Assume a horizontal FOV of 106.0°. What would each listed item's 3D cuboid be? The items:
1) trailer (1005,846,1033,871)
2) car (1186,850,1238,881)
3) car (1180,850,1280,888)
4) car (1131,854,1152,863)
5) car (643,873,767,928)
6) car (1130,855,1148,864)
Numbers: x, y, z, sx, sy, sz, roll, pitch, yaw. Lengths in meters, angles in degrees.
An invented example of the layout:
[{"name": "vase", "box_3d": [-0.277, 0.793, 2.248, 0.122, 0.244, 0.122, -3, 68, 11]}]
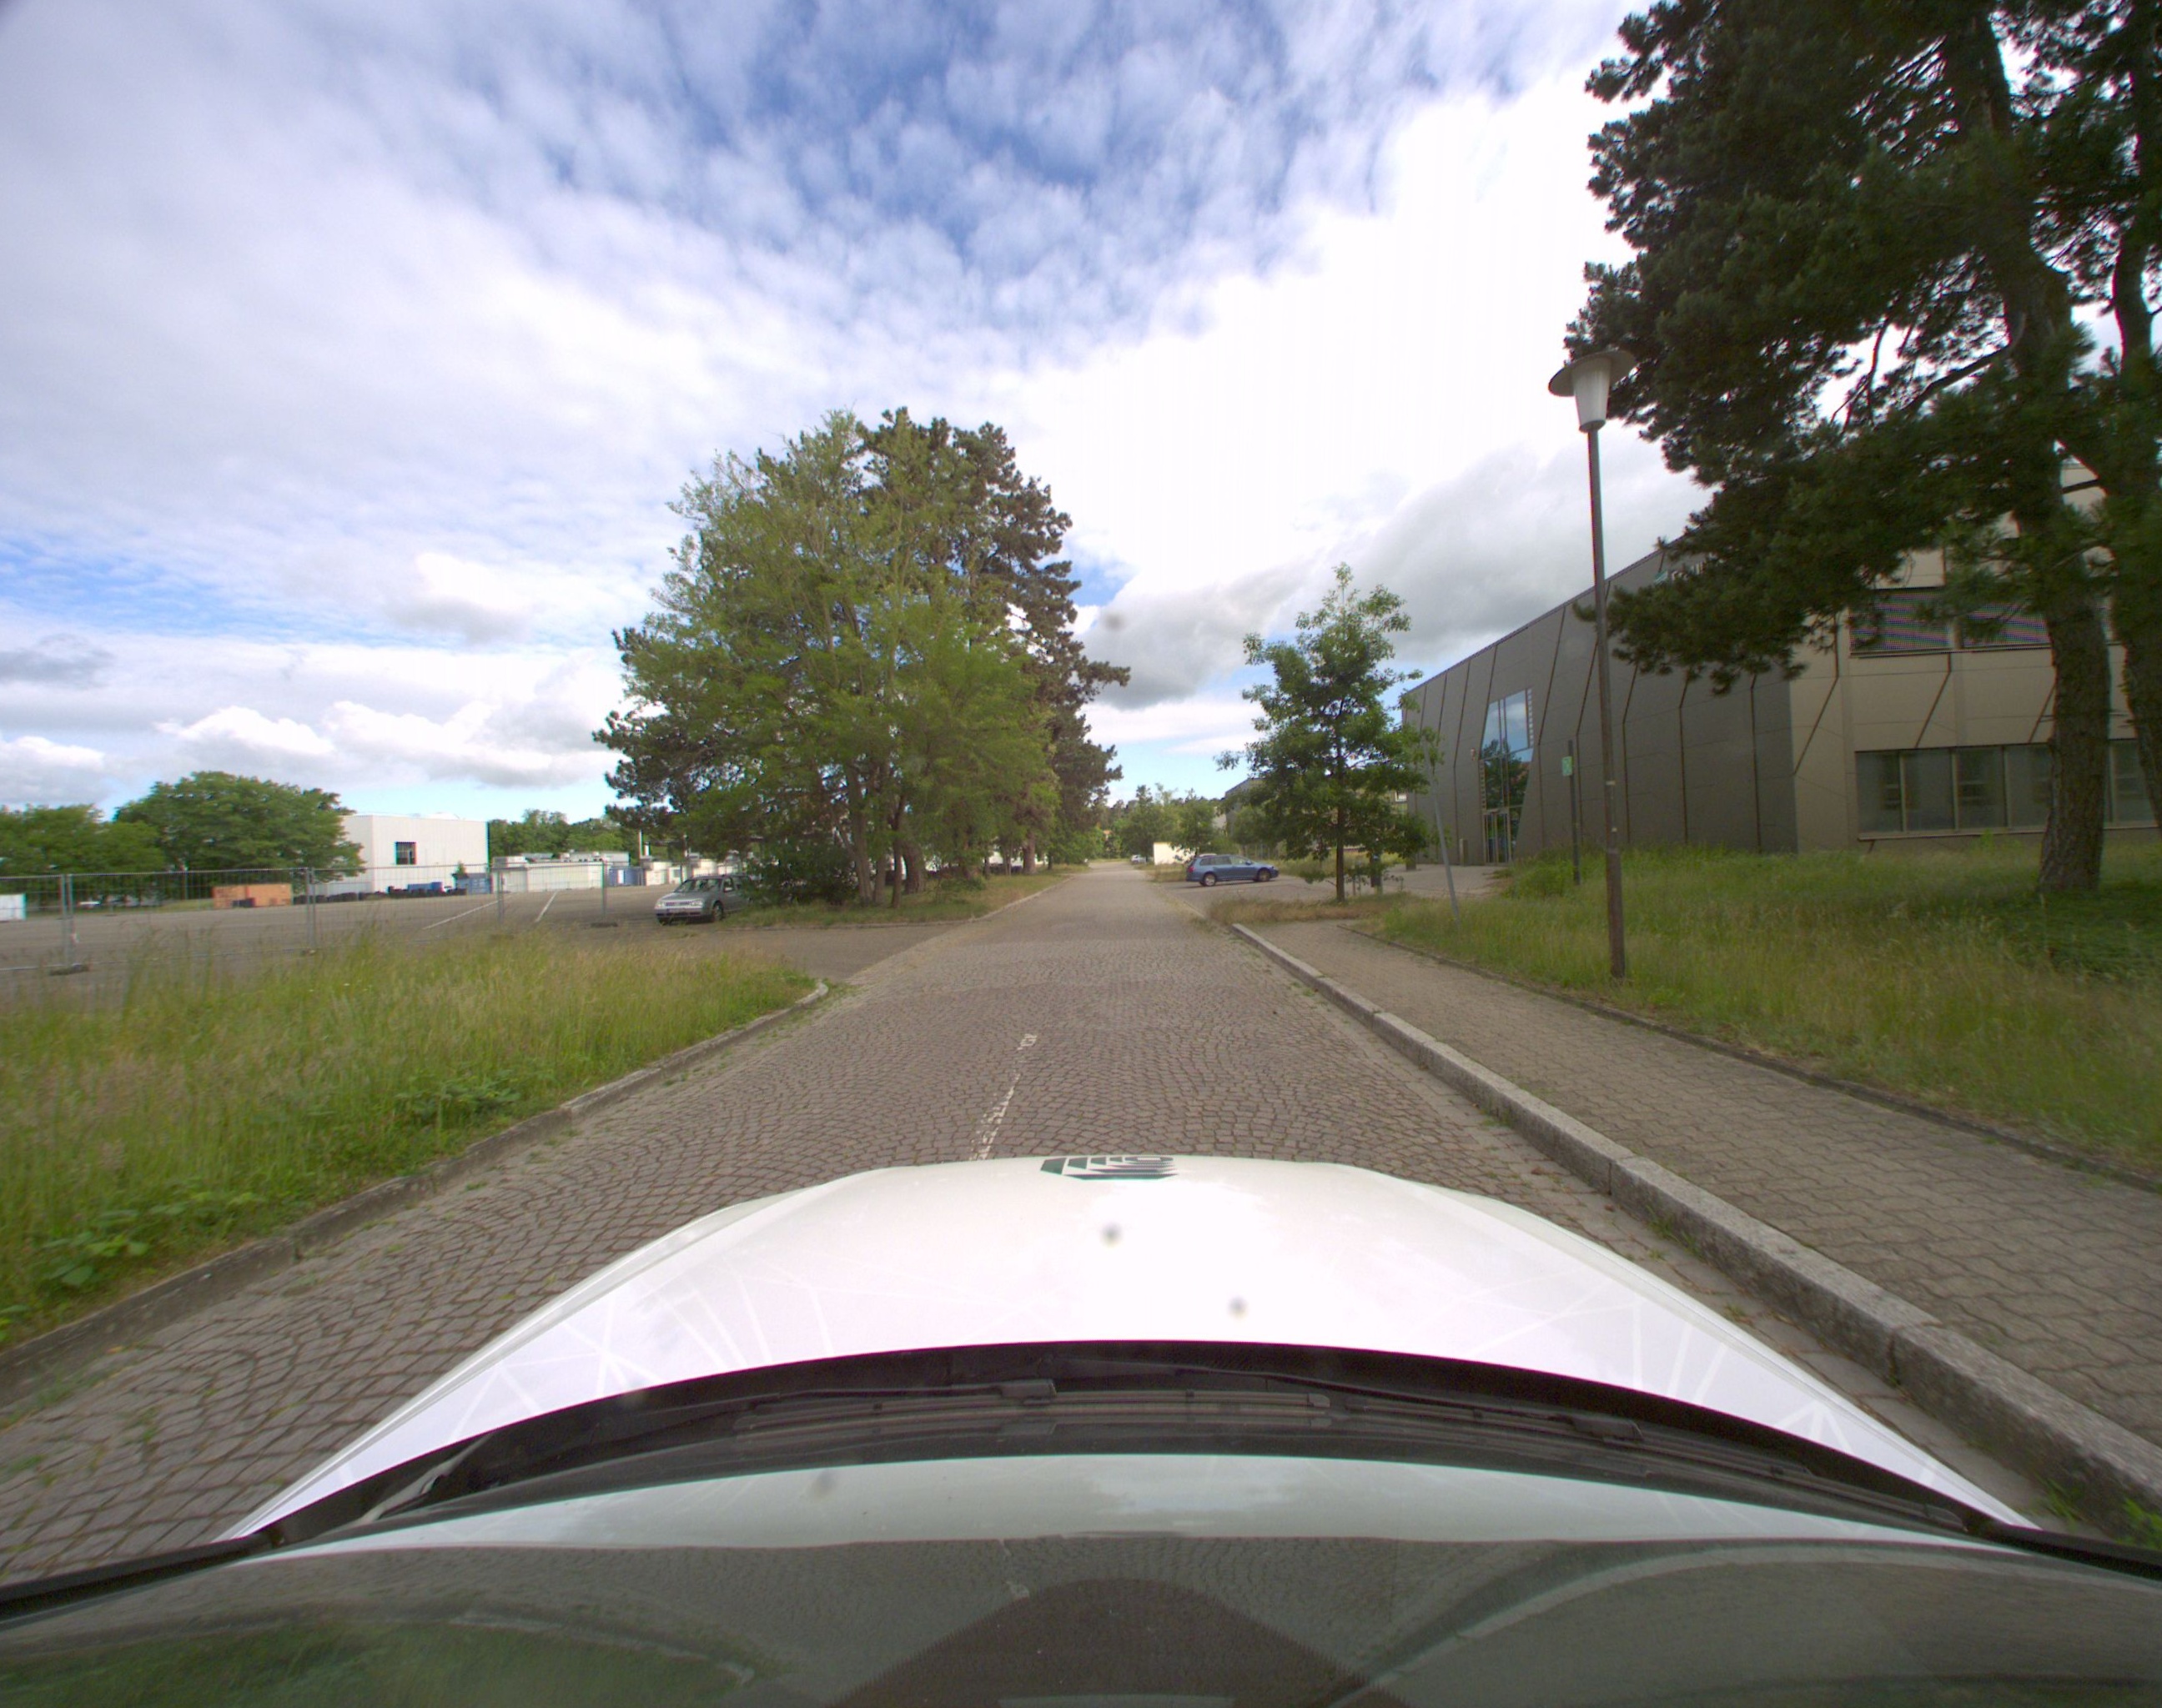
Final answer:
[{"name": "trailer", "box_3d": [-9.607, 0.686, 127.715, 2.613, 3.598, 10.190, -2, 0, 5]}, {"name": "car", "box_3d": [7.610, 0.663, 47.426, 2.699, 1.556, 1.654, -5, 0, 2]}, {"name": "car", "box_3d": [7.246, 0.718, 39.858, 4.477, 1.475, 1.830, -5, 0, -1]}, {"name": "car", "box_3d": [11.834, 0.945, 159.663, 3.969, 1.448, 1.654, -4, -1, 2]}, {"name": "car", "box_3d": [-11.789, 1.407, 25.880, 1.819, 1.416, 4.420, -2, 0, 0]}, {"name": "car", "box_3d": [11.184, 1.064, 156.987, 3.508, 1.362, 1.623, -4, -1, 2]}]
